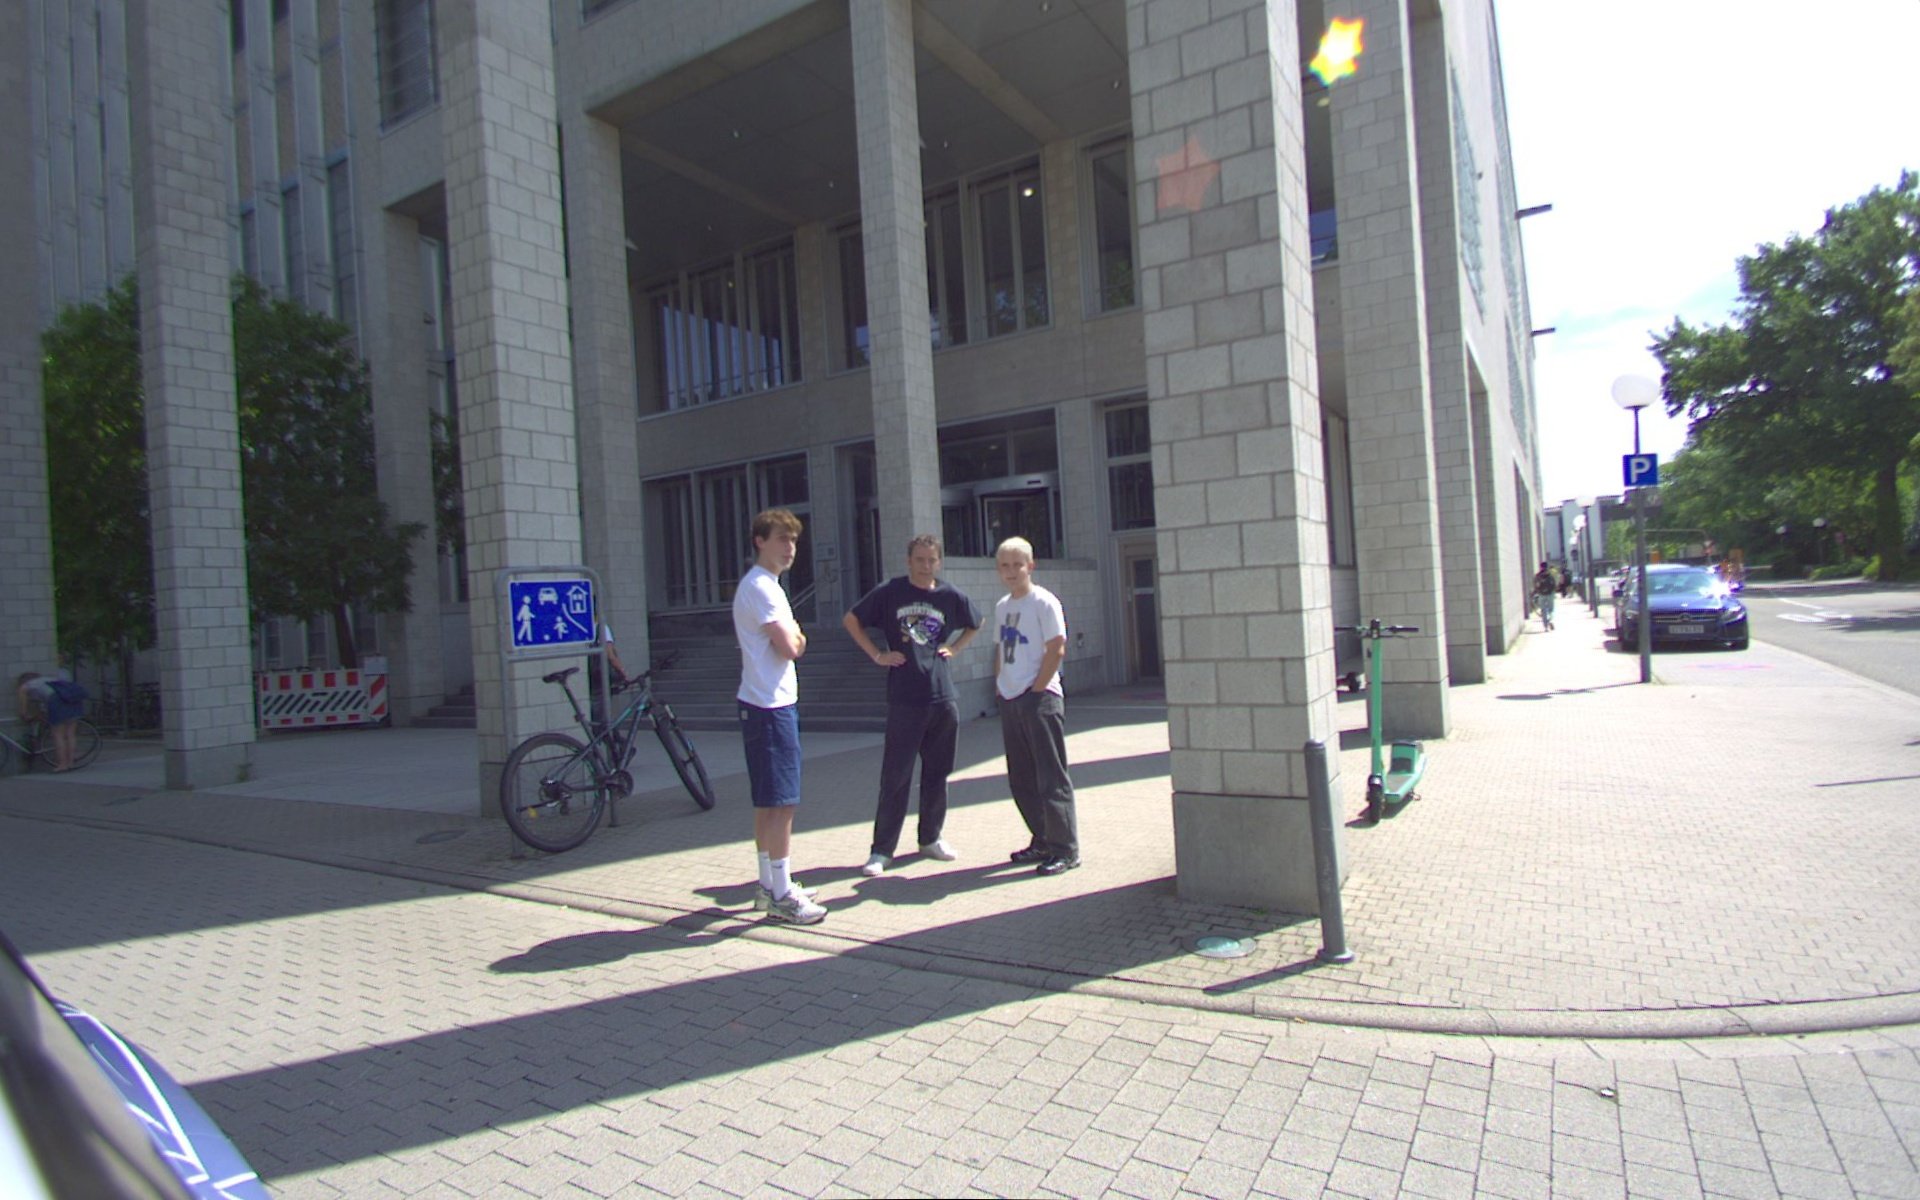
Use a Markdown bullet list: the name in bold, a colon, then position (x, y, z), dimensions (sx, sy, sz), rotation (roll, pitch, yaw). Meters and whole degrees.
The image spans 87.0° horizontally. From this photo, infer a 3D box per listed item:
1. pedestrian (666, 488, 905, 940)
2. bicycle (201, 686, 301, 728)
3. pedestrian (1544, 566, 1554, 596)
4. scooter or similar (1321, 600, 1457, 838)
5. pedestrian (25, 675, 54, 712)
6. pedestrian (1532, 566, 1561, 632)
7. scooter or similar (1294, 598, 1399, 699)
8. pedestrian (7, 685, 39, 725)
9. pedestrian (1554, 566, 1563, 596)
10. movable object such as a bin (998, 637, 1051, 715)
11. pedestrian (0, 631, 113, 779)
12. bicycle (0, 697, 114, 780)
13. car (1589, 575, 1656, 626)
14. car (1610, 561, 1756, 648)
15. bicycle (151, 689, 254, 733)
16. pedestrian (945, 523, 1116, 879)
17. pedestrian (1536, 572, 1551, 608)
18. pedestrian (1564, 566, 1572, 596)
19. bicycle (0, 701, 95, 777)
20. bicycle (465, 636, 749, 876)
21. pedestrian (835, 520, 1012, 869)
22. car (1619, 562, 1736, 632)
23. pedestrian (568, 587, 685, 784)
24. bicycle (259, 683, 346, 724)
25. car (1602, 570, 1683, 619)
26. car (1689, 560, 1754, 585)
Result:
- **pedestrian**: position (-0.798, 0.491, 4.717), dimensions (0.684, 1.905, 0.680), rotation (-5, 0, 29)
- **bicycle**: position (-13.946, 2.100, 19.891), dimensions (1.976, 0.765, 0.639), rotation (-3, -2, 22)
- **pedestrian**: position (32.286, -1.024, 55.509), dimensions (0.440, 1.642, 0.563), rotation (-1, 0, 32)
- **scooter or similar**: position (2.638, 0.635, 6.144), dimensions (0.562, 1.221, 1.495), rotation (-1, 1, 30)
- **pedestrian**: position (-46.839, 4.735, 51.511), dimensions (0.958, 1.777, 0.746), rotation (-1, 0, -33)
- **pedestrian**: position (14.472, -0.026, 24.992), dimensions (0.548, 1.593, 0.600), rotation (-2, -1, 28)
- **scooter or similar**: position (5.118, 0.607, 13.501), dimensions (0.556, 1.220, 1.513), rotation (-4, 1, -9)
- **pedestrian**: position (-44.125, 4.940, 47.667), dimensions (0.958, 1.777, 0.746), rotation (-1, 0, -33)
- **pedestrian**: position (32.669, -1.029, 55.248), dimensions (0.382, 1.642, 0.514), rotation (-1, 0, 32)
- **movable object such as a bin**: position (0.840, 0.977, 13.142), dimensions (0.511, 0.956, 0.507), rotation (-1, 0, 30)
- **pedestrian**: position (-11.524, 1.318, 12.816), dimensions (0.928, 1.753, 0.746), rotation (-4, -1, 12)
- **bicycle**: position (-12.030, 1.800, 12.971), dimensions (0.336, 0.906, 1.755), rotation (-5, -1, 36)
- **car**: position (23.415, 0.010, 35.868), dimensions (1.794, 1.714, 3.958), rotation (-1, 0, 31)
- **car**: position (13.121, 0.087, 18.593), dimensions (1.838, 1.408, 3.836), rotation (-2, -1, 31)
- **bicycle**: position (-14.419, 2.107, 19.256), dimensions (1.976, 0.765, 0.639), rotation (-3, -2, 22)
- **pedestrian**: position (0.376, 0.502, 5.333), dimensions (0.612, 1.742, 0.536), rotation (-4, -1, 33)
- **pedestrian**: position (23.345, -0.399, 40.497), dimensions (0.464, 1.419, 0.459), rotation (-1, 0, 37)
- **pedestrian**: position (33.058, -1.034, 55.016), dimensions (0.382, 1.642, 0.514), rotation (-1, 0, 32)
- **bicycle**: position (-12.693, 1.878, 13.480), dimensions (1.749, 0.906, 0.449), rotation (-2, -3, -41)
- **bicycle**: position (-2.252, 0.937, 6.722), dimensions (0.530, 1.251, 1.811), rotation (-4, 0, 30)
- **pedestrian**: position (-0.228, 0.496, 5.739), dimensions (0.796, 1.810, 0.621), rotation (-3, -1, -12)
- **car**: position (16.129, -0.050, 22.928), dimensions (1.838, 1.408, 3.836), rotation (-2, -1, 31)
- **pedestrian**: position (-3.099, 0.774, 9.427), dimensions (0.685, 1.747, 0.681), rotation (-4, -1, 20)
- **bicycle**: position (-13.347, 2.092, 20.529), dimensions (1.981, 0.765, 0.637), rotation (-3, -2, 29)
- **car**: position (21.131, -0.157, 31.470), dimensions (1.838, 1.408, 3.836), rotation (-2, -1, 31)
- **car**: position (58.041, -2.099, 77.220), dimensions (3.662, 1.460, 1.786), rotation (-7, -3, 30)
